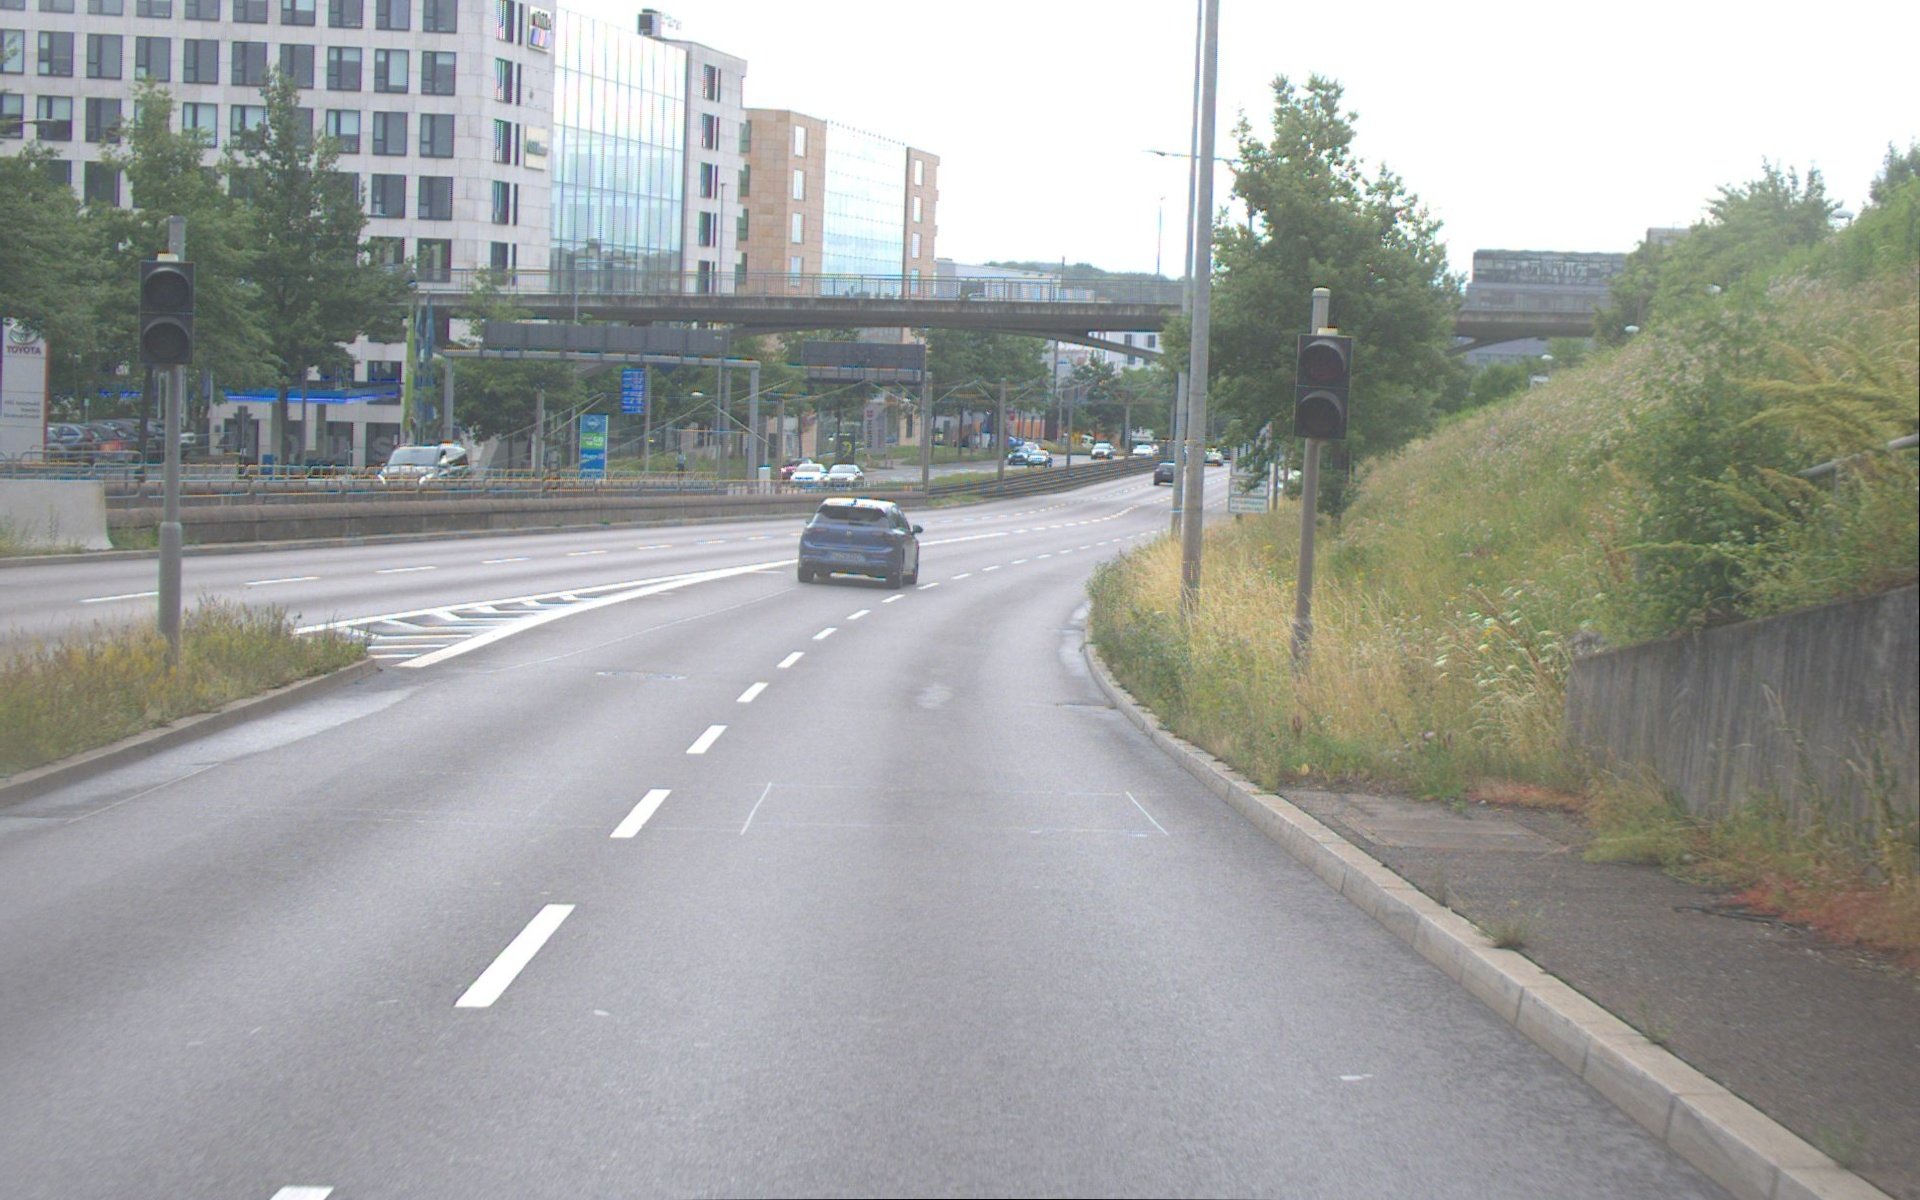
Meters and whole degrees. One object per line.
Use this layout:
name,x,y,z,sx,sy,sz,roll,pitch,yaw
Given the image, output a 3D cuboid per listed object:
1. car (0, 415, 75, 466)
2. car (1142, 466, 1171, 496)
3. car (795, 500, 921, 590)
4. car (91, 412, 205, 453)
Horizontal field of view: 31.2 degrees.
car,-34.726,-5.918,126.209,3.986,1.645,2.001,3,3,-23
car,13.790,-8.373,241.023,1.863,1.743,4.001,5,5,3
car,-1.718,-0.967,58.880,1.749,1.415,3.478,1,3,5
car,-32.725,-6.749,138.586,3.989,1.349,1.849,5,3,9
